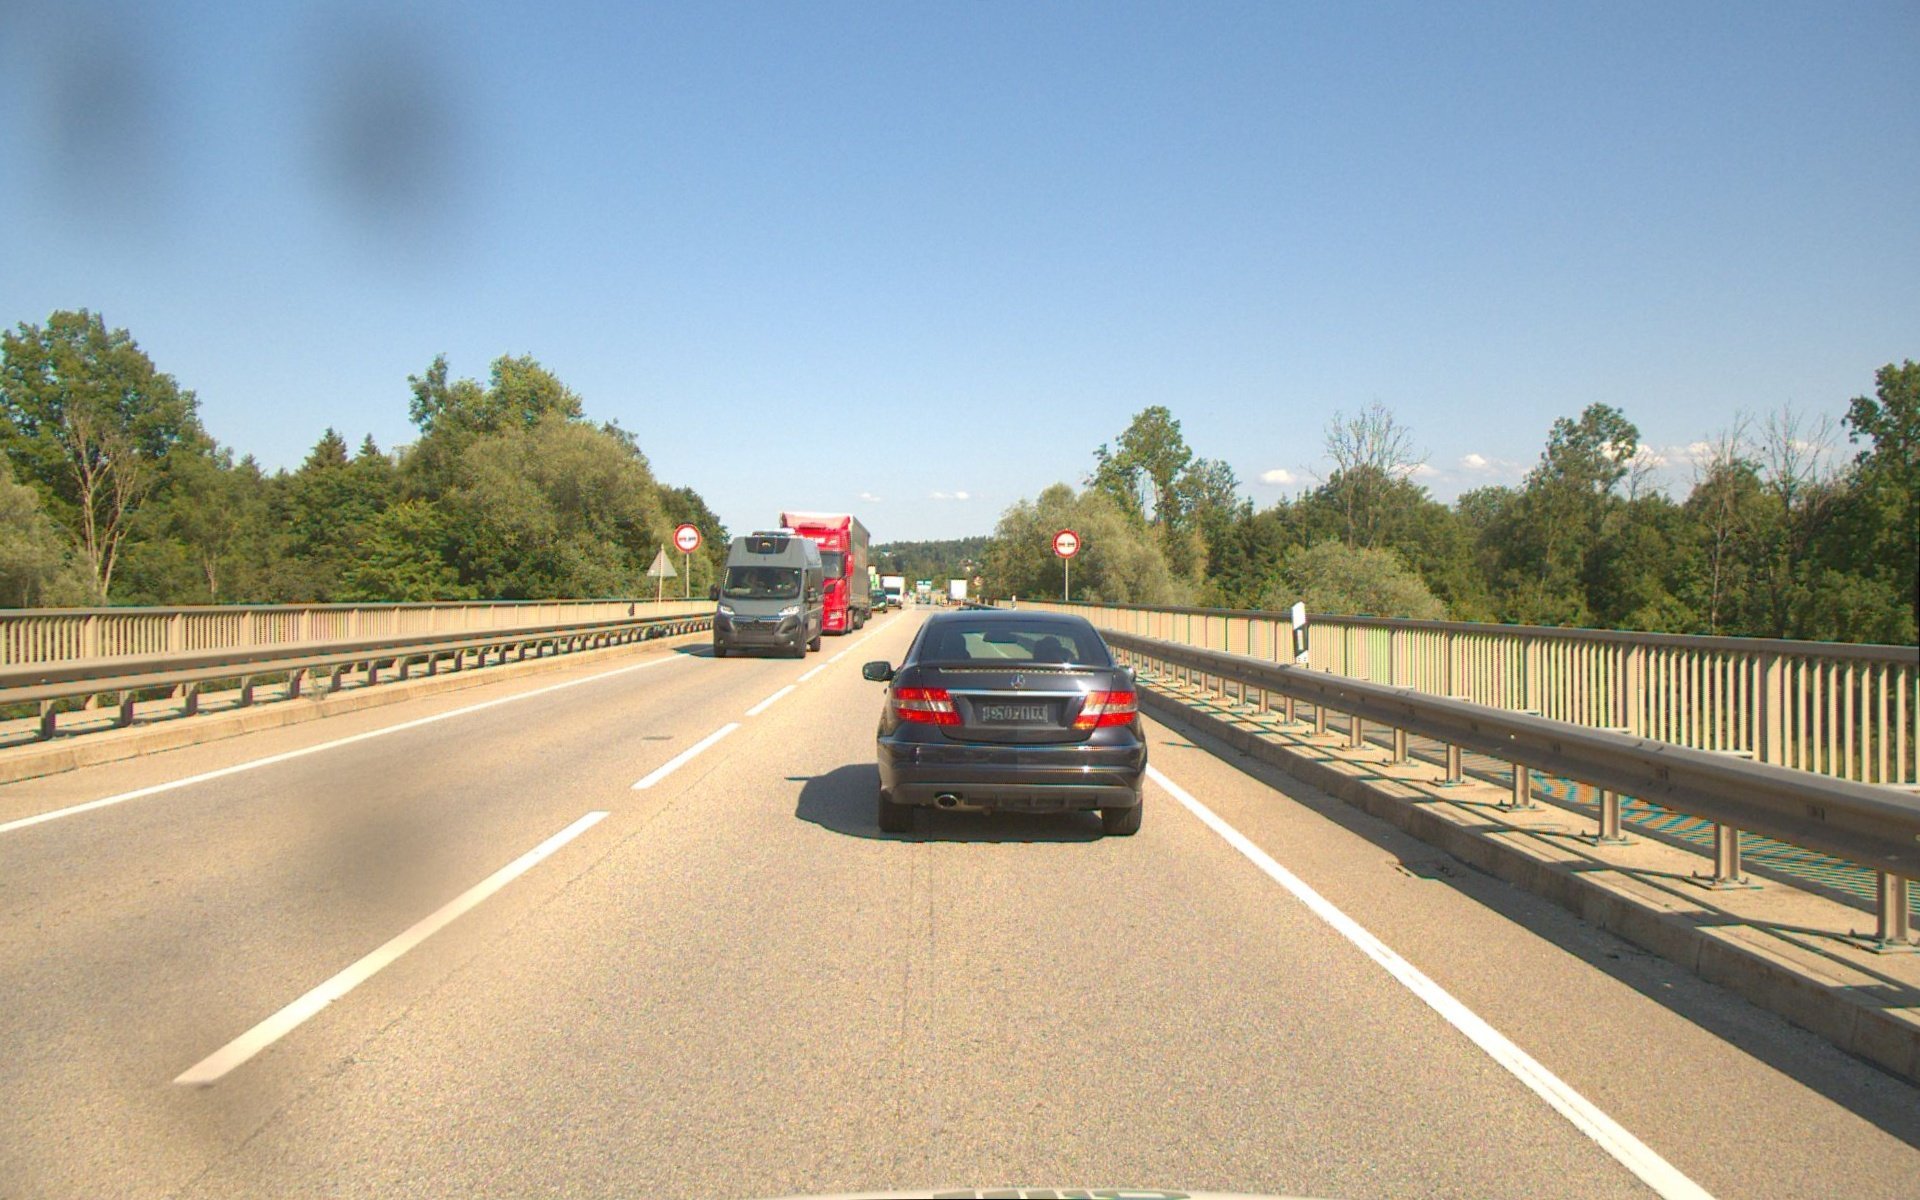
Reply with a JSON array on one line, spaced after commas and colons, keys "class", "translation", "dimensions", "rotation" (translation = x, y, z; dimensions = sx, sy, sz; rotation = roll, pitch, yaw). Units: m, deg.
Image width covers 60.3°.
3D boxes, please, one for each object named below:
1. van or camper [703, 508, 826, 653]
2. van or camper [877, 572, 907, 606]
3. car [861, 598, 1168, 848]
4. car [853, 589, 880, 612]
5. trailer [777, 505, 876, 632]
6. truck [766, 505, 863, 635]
[{"class": "van or camper", "translation": [-4.509, -0.445, 39.205], "dimensions": [2.269, 3.104, 6.814], "rotation": [1, 0, -2]}, {"class": "van or camper", "translation": [-6.916, -1.123, 169.921], "dimensions": [2.581, 3.313, 7.750], "rotation": [1, 0, 1]}, {"class": "car", "translation": [0.317, 0.705, 11.490], "dimensions": [1.756, 1.400, 4.000], "rotation": [0, 0, 0]}, {"class": "car", "translation": [-6.945, 0.012, 122.640], "dimensions": [1.805, 1.670, 4.572], "rotation": [1, 0, -5]}, {"class": "trailer", "translation": [-5.027, -1.135, 64.980], "dimensions": [2.848, 4.377, 14.300], "rotation": [1, 0, -1]}, {"class": "truck", "translation": [-4.985, -1.016, 57.540], "dimensions": [2.848, 4.257, 5.712], "rotation": [1, 0, 0]}]
